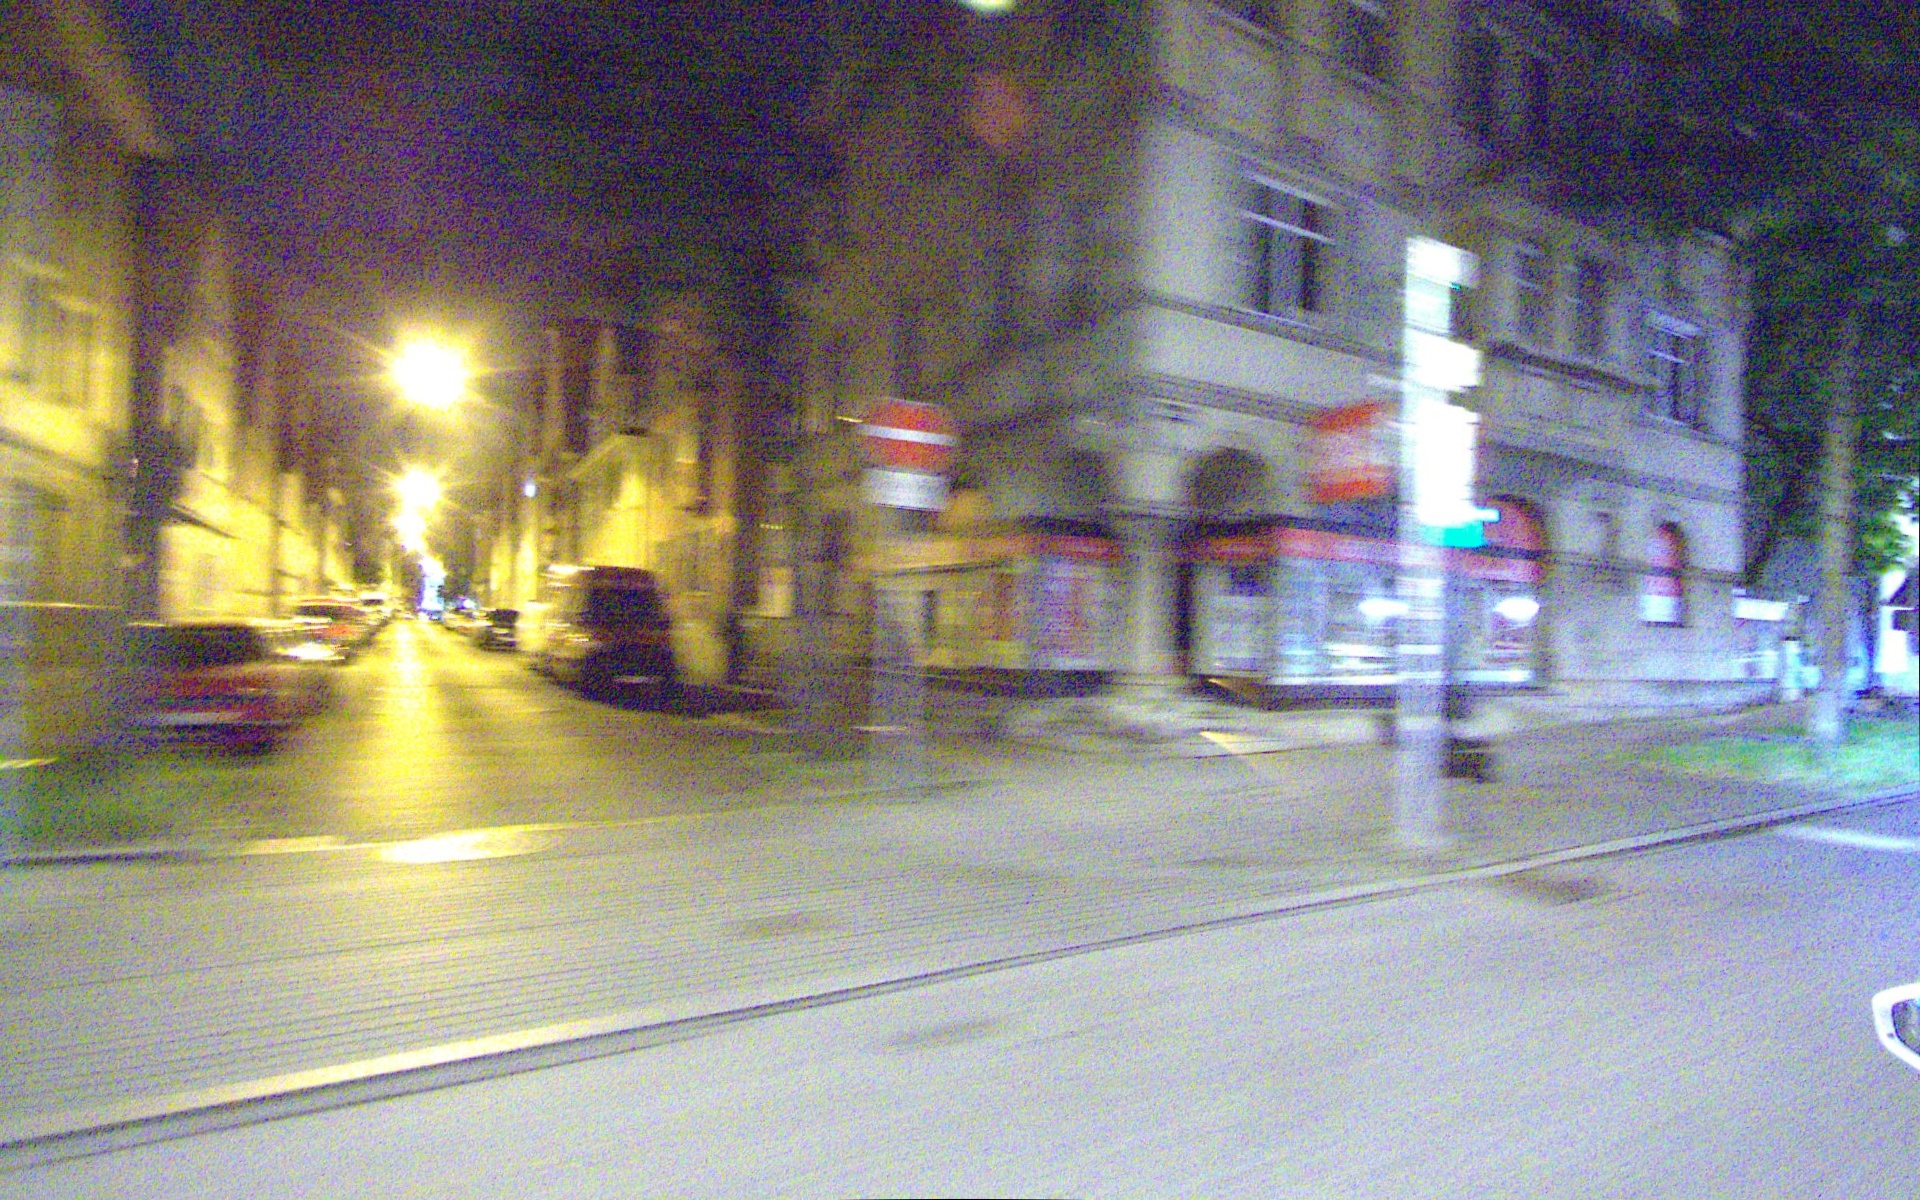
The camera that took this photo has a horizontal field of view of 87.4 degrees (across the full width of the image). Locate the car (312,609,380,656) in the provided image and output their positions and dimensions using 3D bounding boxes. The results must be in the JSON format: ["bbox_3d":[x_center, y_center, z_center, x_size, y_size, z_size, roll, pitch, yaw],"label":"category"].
[{"bbox_3d":[-22.333,1.134,36.636,1.848,1.576,4.212,-1,0,-28],"label":"car"}]

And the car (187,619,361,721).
[{"bbox_3d":[-10.892,1.025,16.233,1.849,1.405,4.212,1,-1,-28],"label":"car"}]

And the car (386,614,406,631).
[{"bbox_3d":[-63.336,2.536,112.806,1.848,1.821,4.212,-1,0,-28],"label":"car"}]

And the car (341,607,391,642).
[{"bbox_3d":[-27.992,1.129,47.448,1.848,1.576,4.212,-1,0,-28],"label":"car"}]

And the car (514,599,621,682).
[{"bbox_3d":[-10.356,1.009,26.318,1.866,1.909,4.248,5,-2,-30],"label":"car"}]

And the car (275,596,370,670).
[{"bbox_3d":[-17.348,0.882,27.509,1.849,1.866,4.212,1,-1,-28],"label":"car"}]

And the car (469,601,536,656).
[{"bbox_3d":[-17.995,1.090,39.431,1.866,1.909,4.248,5,-2,-30],"label":"car"}]

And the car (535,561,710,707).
[{"bbox_3d":[-7.231,0.667,21.037,2.221,2.577,5.817,4,-2,-30],"label":"car"}]

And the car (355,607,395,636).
[{"bbox_3d":[-34.365,1.235,59.073,1.848,1.576,4.212,-1,0,-28],"label":"car"}]

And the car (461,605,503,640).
[{"bbox_3d":[-28.104,1.279,58.990,1.865,1.909,4.248,3,-2,-30],"label":"car"}]

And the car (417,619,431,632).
[{"bbox_3d":[-81.072,3.820,151.911,1.848,1.821,4.212,-1,0,-28],"label":"car"}]

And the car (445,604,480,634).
[{"bbox_3d":[-34.557,1.289,69.718,1.865,1.909,4.250,5,-3,-29],"label":"car"}]

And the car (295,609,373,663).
[{"bbox_3d":[-19.968,1.104,32.185,1.848,1.576,4.212,-1,0,-28],"label":"car"}]

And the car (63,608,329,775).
[{"bbox_3d":[-8.556,0.916,11.615,1.849,1.576,3.734,1,-1,-28],"label":"car"}]

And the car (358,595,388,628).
[{"bbox_3d":[-46.572,0.923,79.725,1.848,2.526,4.212,-1,0,-28],"label":"car"}]
